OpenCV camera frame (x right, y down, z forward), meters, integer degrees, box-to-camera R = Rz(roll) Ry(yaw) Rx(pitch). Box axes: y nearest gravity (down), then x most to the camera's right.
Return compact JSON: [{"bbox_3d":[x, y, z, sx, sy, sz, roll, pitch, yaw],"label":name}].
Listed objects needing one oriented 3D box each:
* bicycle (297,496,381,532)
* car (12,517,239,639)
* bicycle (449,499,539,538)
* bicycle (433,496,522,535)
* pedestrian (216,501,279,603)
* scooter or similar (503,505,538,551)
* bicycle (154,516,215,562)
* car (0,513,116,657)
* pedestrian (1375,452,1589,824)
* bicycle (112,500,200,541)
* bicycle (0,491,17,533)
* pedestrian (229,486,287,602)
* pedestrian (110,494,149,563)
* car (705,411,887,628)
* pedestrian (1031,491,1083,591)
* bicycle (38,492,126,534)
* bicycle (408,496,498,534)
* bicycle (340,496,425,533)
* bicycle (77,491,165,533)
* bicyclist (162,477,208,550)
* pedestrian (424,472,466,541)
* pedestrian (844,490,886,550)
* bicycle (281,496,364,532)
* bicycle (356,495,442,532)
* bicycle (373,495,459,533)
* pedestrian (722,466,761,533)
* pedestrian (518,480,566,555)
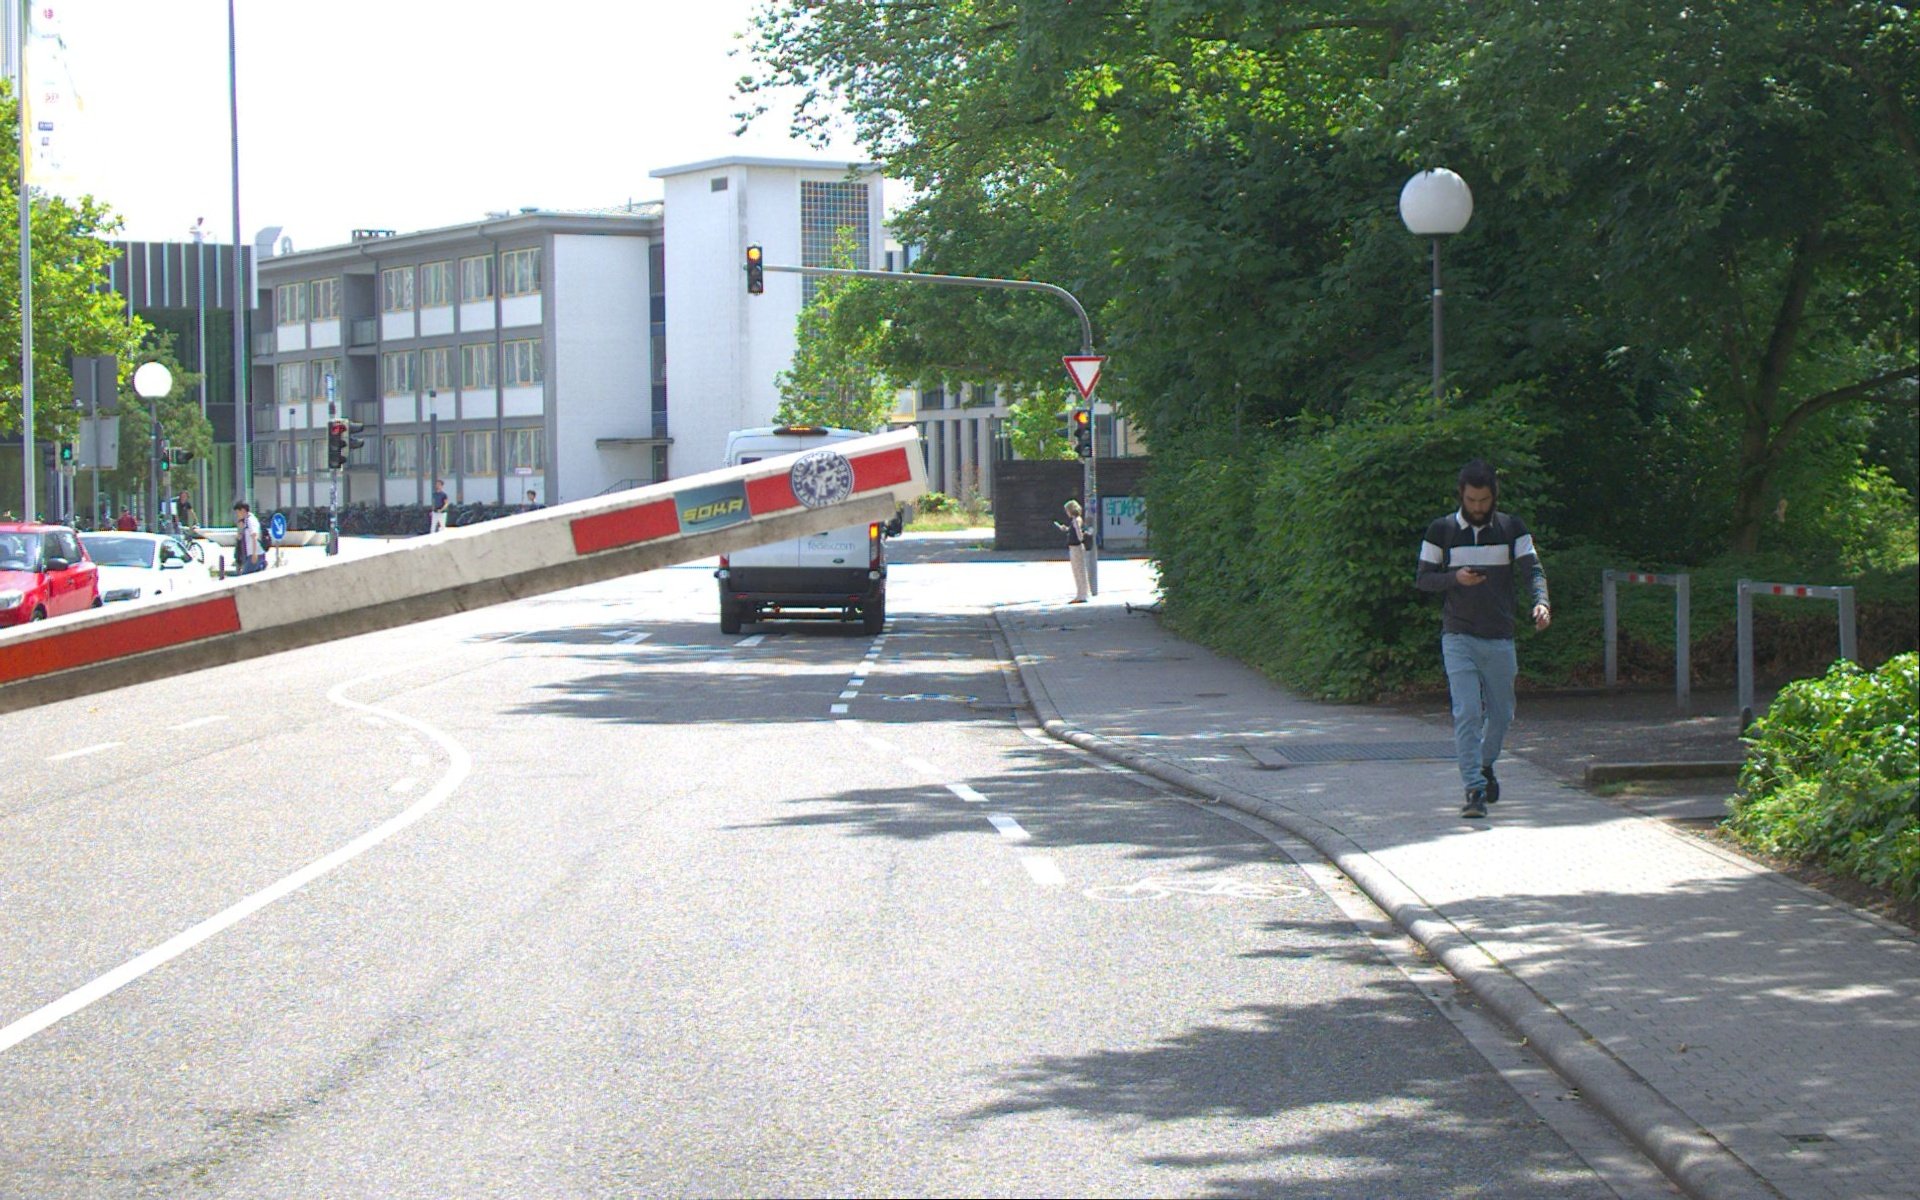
[{"bbox_3d":[-23.662,-3.262,130.949,2.956,1.359,1.117,-1,2,-37],"label":"bicycle"},{"bbox_3d":[-10.463,-0.320,43.425,1.676,1.390,4.663,1,2,0],"label":"car"},{"bbox_3d":[-16.439,-2.883,121.346,2.956,1.359,1.117,-1,2,-37],"label":"bicycle"},{"bbox_3d":[-17.185,-3.020,122.447,2.956,1.359,1.117,-1,2,-37],"label":"bicycle"},{"bbox_3d":[-11.735,-0.793,56.607,0.843,1.645,0.746,-1,2,2],"label":"pedestrian"},{"bbox_3d":[-11.381,-1.872,89.002,0.716,1.174,2.726,-1,2,-11],"label":"scooter or similar"},{"bbox_3d":[-19.523,-1.543,86.584,0.771,1.118,2.025,-1,2,10],"label":"bicycle"},{"bbox_3d":[-10.763,-0.211,38.361,1.676,1.462,3.911,1,2,0],"label":"car"},{"bbox_3d":[2.425,0.153,16.103,0.739,1.669,1.257,-1,2,-3],"label":"pedestrian"},{"bbox_3d":[-24.454,-2.427,104.552,2.949,1.233,1.198,2,2,45],"label":"bicycle"},{"bbox_3d":[-28.685,-2.574,100.453,1.197,1.233,2.951,-1,2,-36],"label":"bicycle"},{"bbox_3d":[-11.316,-0.904,55.429,0.719,1.853,0.770,-1,2,2],"label":"pedestrian"},{"bbox_3d":[-20.501,-1.767,84.875,0.753,1.672,0.755,-1,2,-3],"label":"pedestrian"},{"bbox_3d":[-2.017,-1.058,43.846,2.095,2.557,5.603,-1,2,-1],"label":"car"},{"bbox_3d":[1.541,-0.939,54.672,0.731,1.570,0.776,0,2,-5],"label":"pedestrian"},{"bbox_3d":[-26.182,-2.588,102.494,2.949,1.233,1.198,2,2,45],"label":"bicycle"},{"bbox_3d":[-18.239,-3.056,123.715,2.956,1.359,1.275,-1,2,-37],"label":"bicycle"},{"bbox_3d":[-21.490,-3.184,128.018,2.956,1.359,1.117,-1,2,-37],"label":"bicycle"},{"bbox_3d":[-25.254,-2.650,103.402,2.949,1.233,1.198,2,2,45],"label":"bicycle"},{"bbox_3d":[-19.519,-2.187,86.574,0.790,1.811,0.999,-1,2,9],"label":"bicyclist"},{"bbox_3d":[-14.243,-2.581,95.061,0.703,1.849,1.398,-1,3,9],"label":"pedestrian"},{"bbox_3d":[-2.401,-2.020,86.645,0.824,1.518,0.815,-1,2,-19],"label":"pedestrian"},{"bbox_3d":[-24.568,-3.304,132.436,2.956,1.359,1.117,-1,2,-37],"label":"bicycle"},{"bbox_3d":[-20.716,-3.182,126.960,2.956,1.359,1.117,-1,2,-37],"label":"bicycle"},{"bbox_3d":[-19.921,-3.155,125.900,2.956,1.359,1.117,-1,2,-37],"label":"bicycle"},{"bbox_3d":[-6.213,-2.858,97.646,0.865,1.882,0.913,-1,2,-19],"label":"pedestrian"},{"bbox_3d":[-10.487,-2.071,86.337,1.080,1.864,0.832,-1,2,-1],"label":"pedestrian"}]
